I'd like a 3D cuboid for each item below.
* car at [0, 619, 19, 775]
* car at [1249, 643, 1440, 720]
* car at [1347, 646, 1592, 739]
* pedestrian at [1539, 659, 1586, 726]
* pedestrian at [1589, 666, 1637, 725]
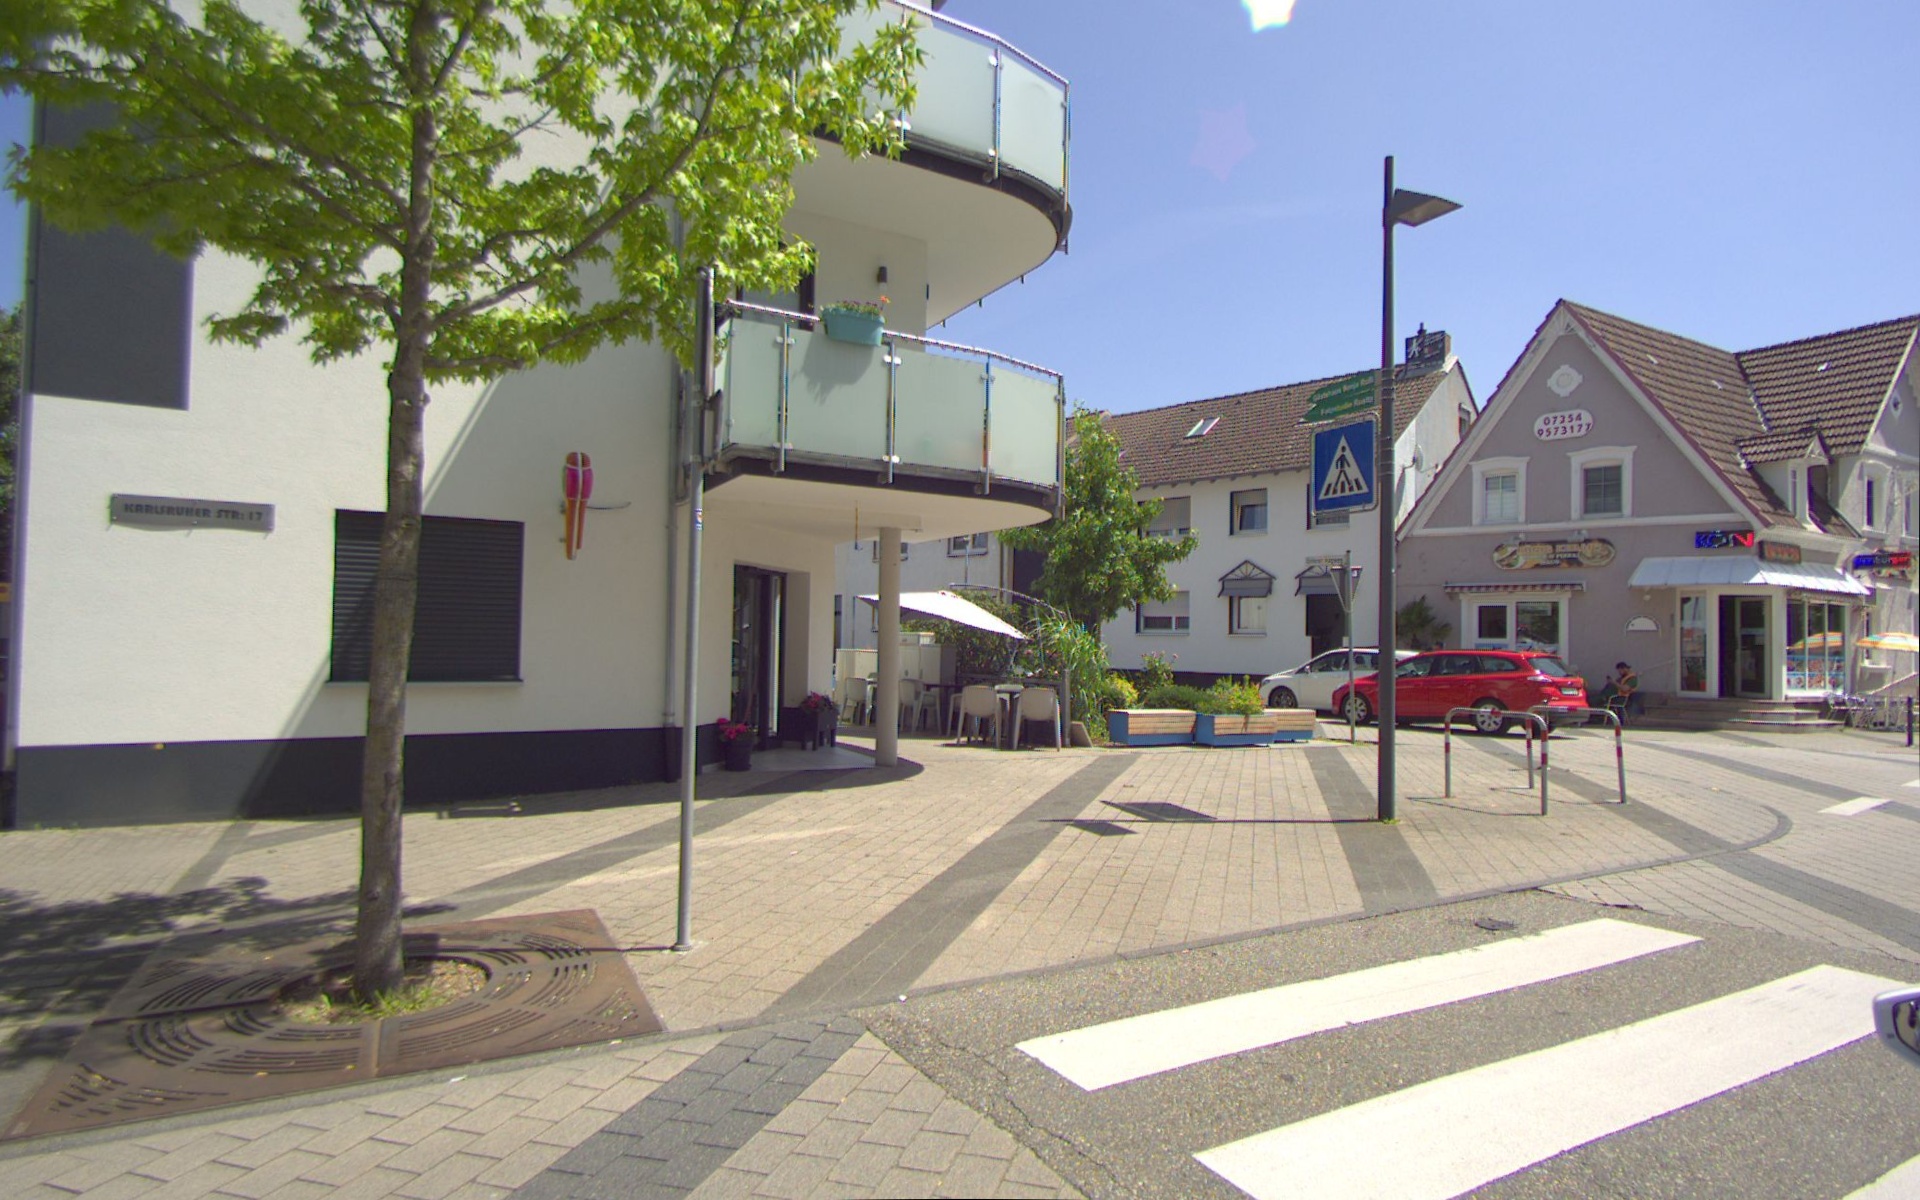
[{"bbox_3d":[-9.052,0.849,8.102,1.571,1.462,3.095,3,-3,-34],"label":"car"},{"bbox_3d":[8.840,1.827,23.305,1.508,1.566,3.876,1,-2,-45],"label":"car"},{"bbox_3d":[9.098,1.591,18.208,1.664,1.449,3.647,3,-3,-33],"label":"car"},{"bbox_3d":[12.638,1.924,21.083,0.623,1.306,0.789,2,0,18],"label":"pedestrian"},{"bbox_3d":[13.765,1.997,21.173,0.689,1.194,0.618,3,-3,-33],"label":"pedestrian"}]
